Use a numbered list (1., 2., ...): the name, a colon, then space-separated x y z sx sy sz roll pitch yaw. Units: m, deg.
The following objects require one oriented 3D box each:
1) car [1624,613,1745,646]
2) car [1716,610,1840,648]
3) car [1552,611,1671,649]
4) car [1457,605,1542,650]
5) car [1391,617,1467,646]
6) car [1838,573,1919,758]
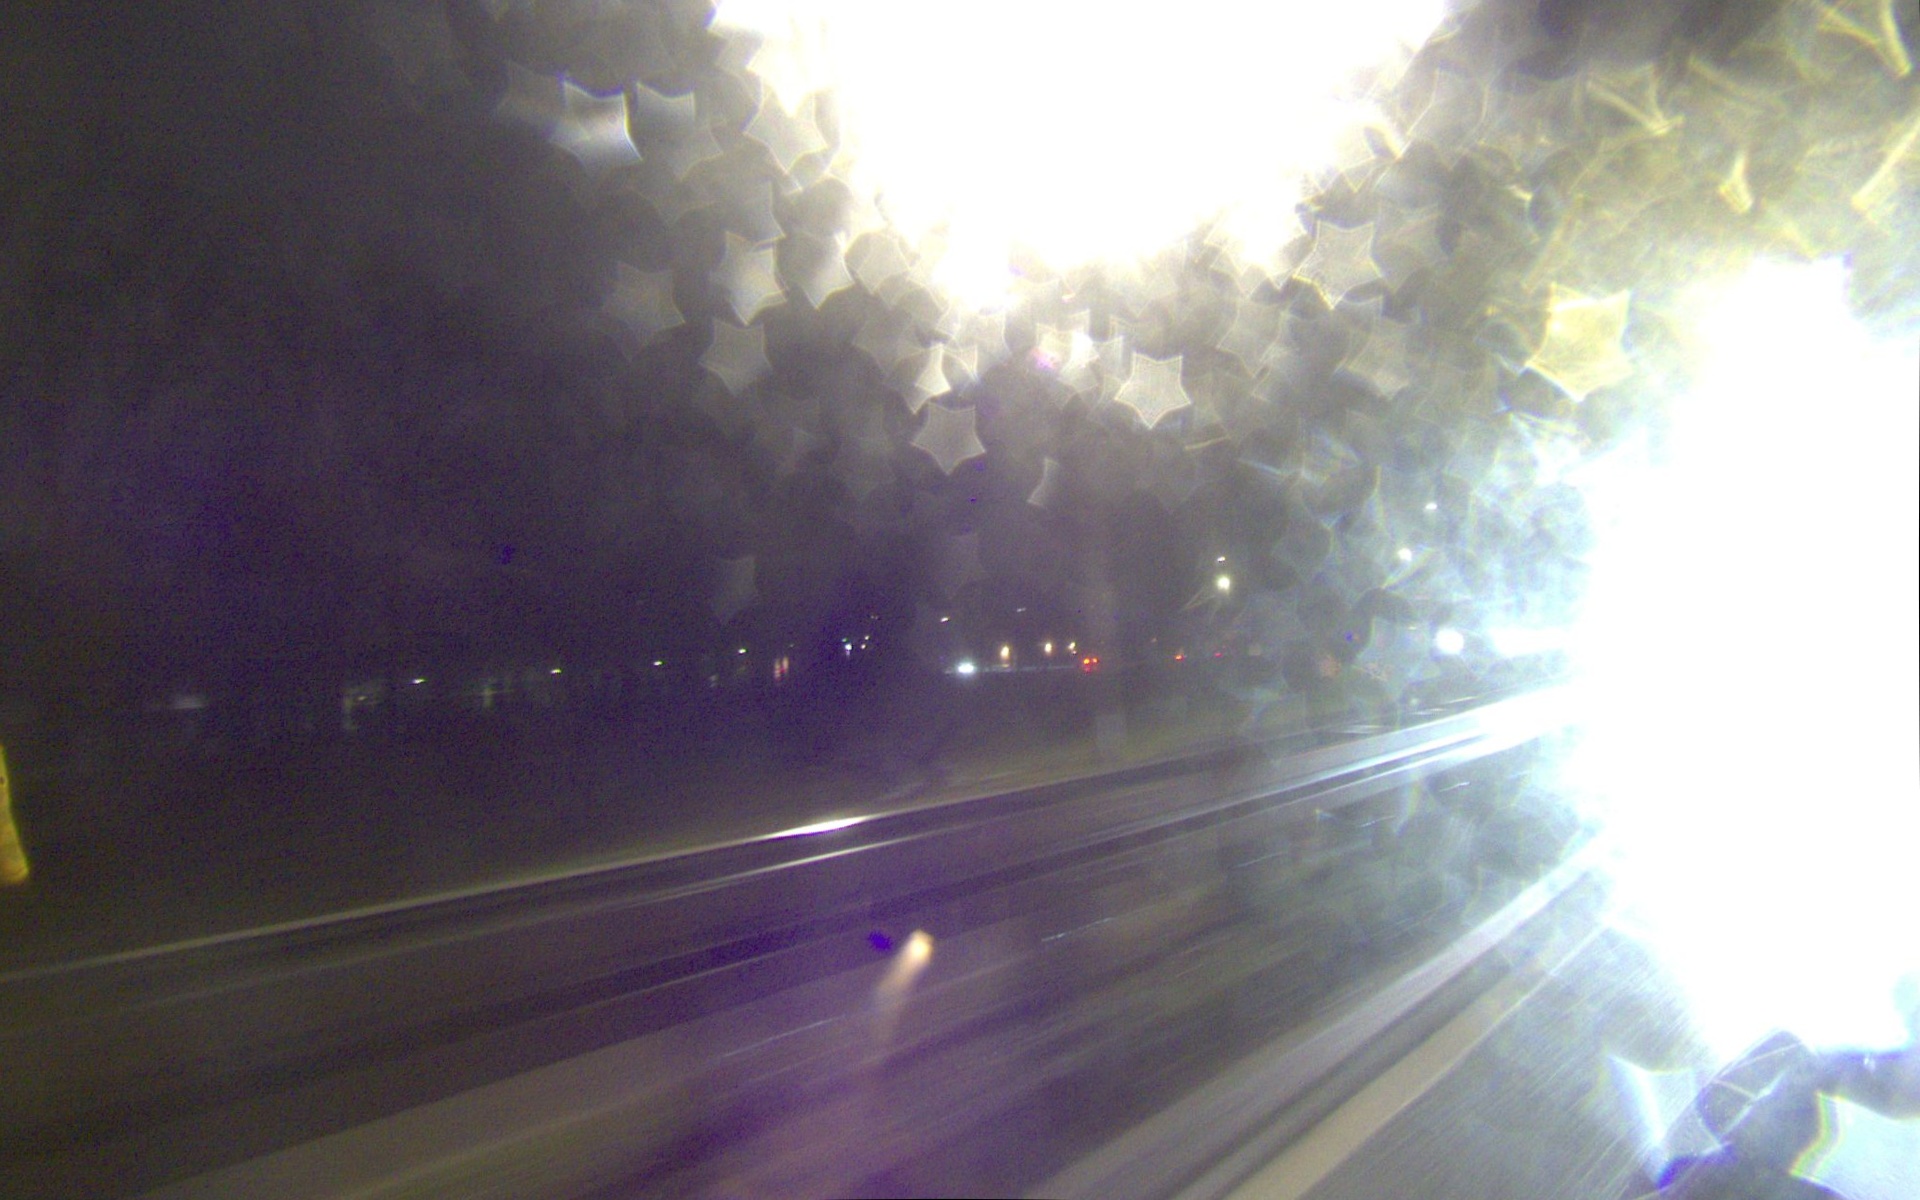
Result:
1. car: 34.054 1.359 47.736 1.958 1.427 4.553 0 0 -11
2. car: 38.216 1.329 47.416 1.958 1.661 4.126 0 0 -13
3. car: 30.656 1.363 47.831 1.958 1.661 4.790 0 0 -11
4. car: 28.996 1.514 54.570 1.728 2.040 4.003 -5 -3 -10
5. car: 28.189 1.884 61.041 1.959 1.661 4.352 -1 -2 -10
6. car: 10.740 0.619 10.680 4.169 1.736 1.924 0 0 -45
